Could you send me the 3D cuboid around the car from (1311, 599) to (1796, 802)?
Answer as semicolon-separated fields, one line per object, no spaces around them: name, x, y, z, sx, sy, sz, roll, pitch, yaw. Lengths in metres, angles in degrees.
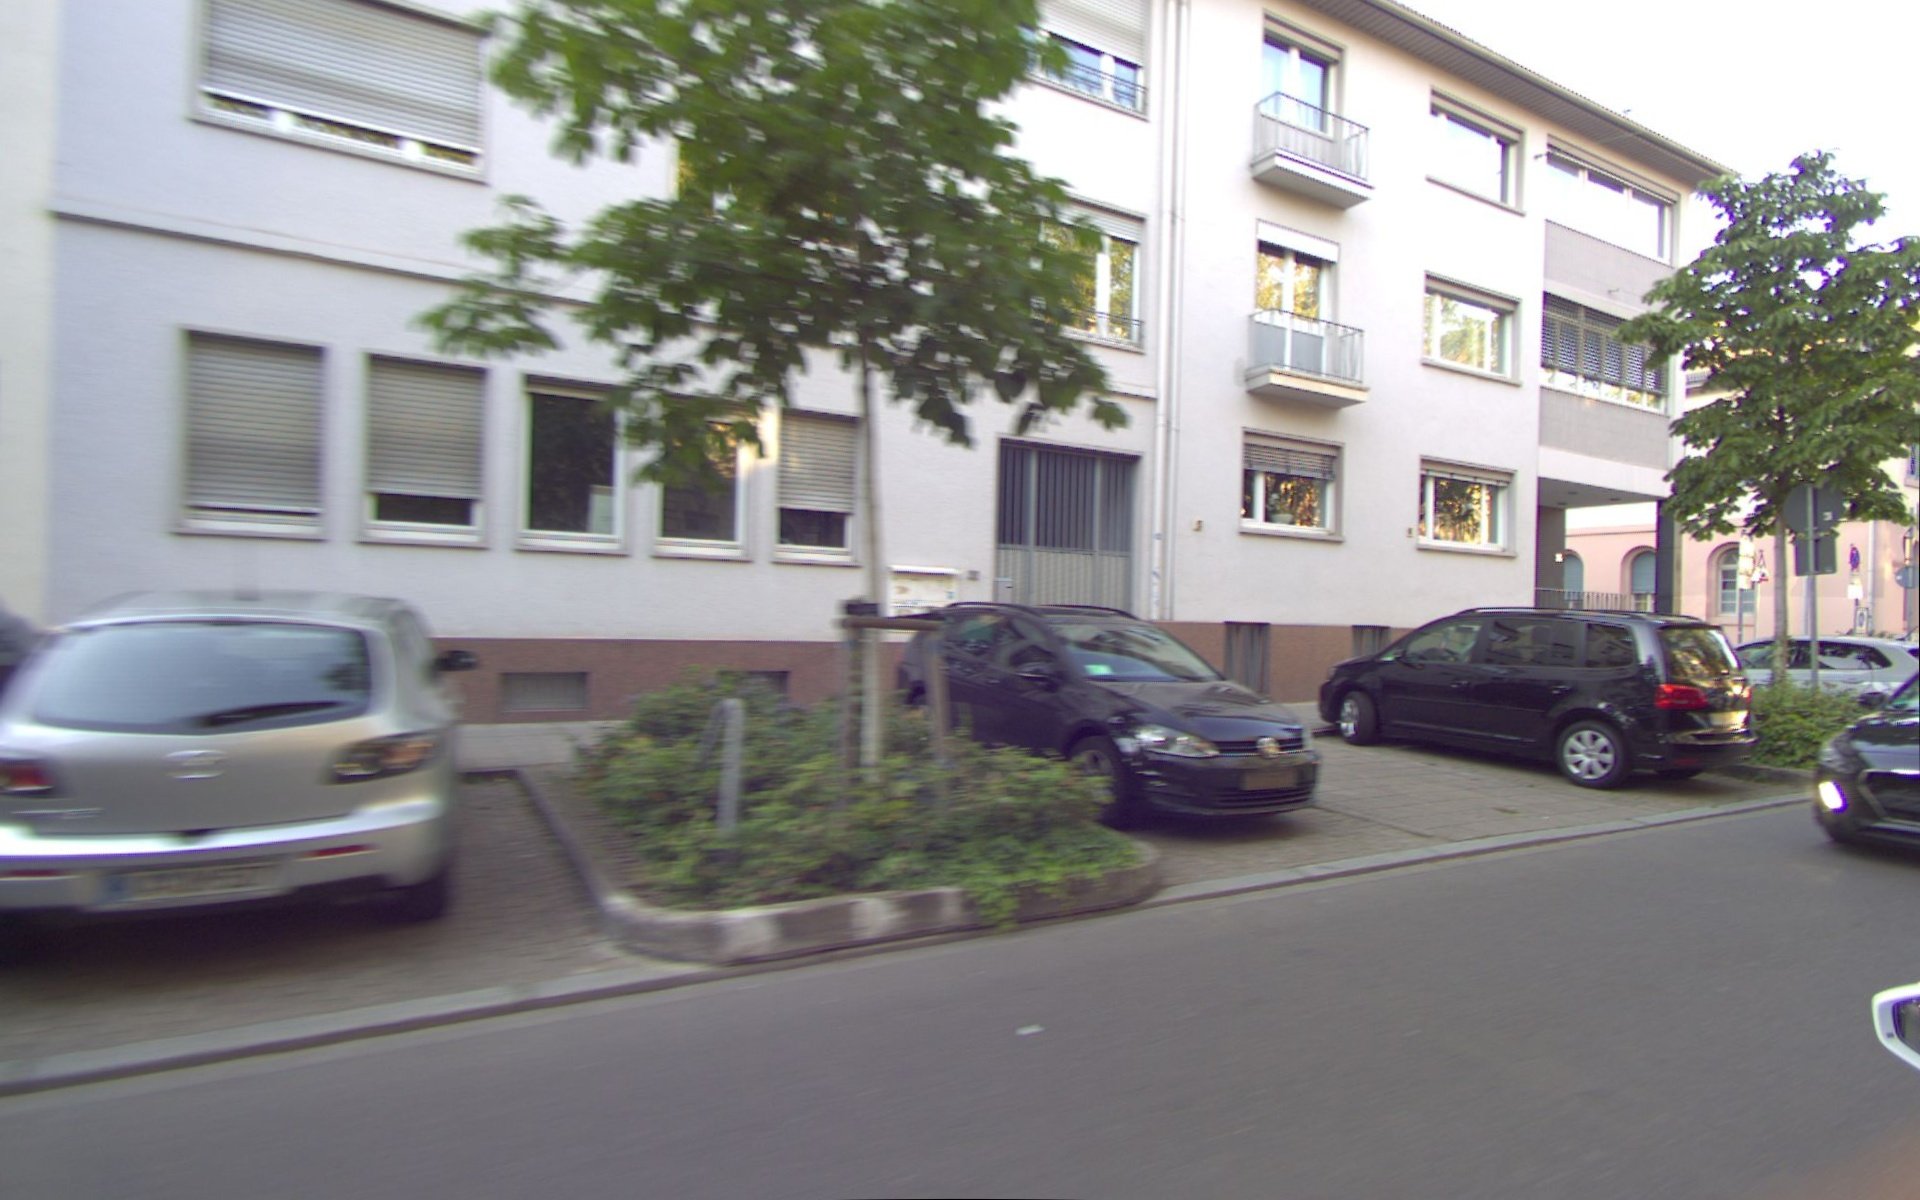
car;6.052;0.880;10.793;1.912;1.654;4.076;2;0;-28

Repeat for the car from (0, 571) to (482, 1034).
car;-3.587;0.656;5.427;1.756;1.514;4.015;2;1;-25

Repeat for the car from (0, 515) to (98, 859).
car;-5.640;0.439;4.230;2.131;1.789;4.644;2;0;-29

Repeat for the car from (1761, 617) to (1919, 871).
car;7.828;0.953;7.196;4.224;1.569;1.868;2;-1;-30

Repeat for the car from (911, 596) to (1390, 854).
car;1.251;0.780;8.352;1.733;1.459;4.058;2;1;-28

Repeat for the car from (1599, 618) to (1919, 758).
car;11.401;1.110;14.069;1.715;1.478;3.723;2;1;-30

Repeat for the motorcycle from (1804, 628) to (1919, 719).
motorcycle;15.717;1.222;16.976;0.950;1.438;2.152;2;-1;-8
